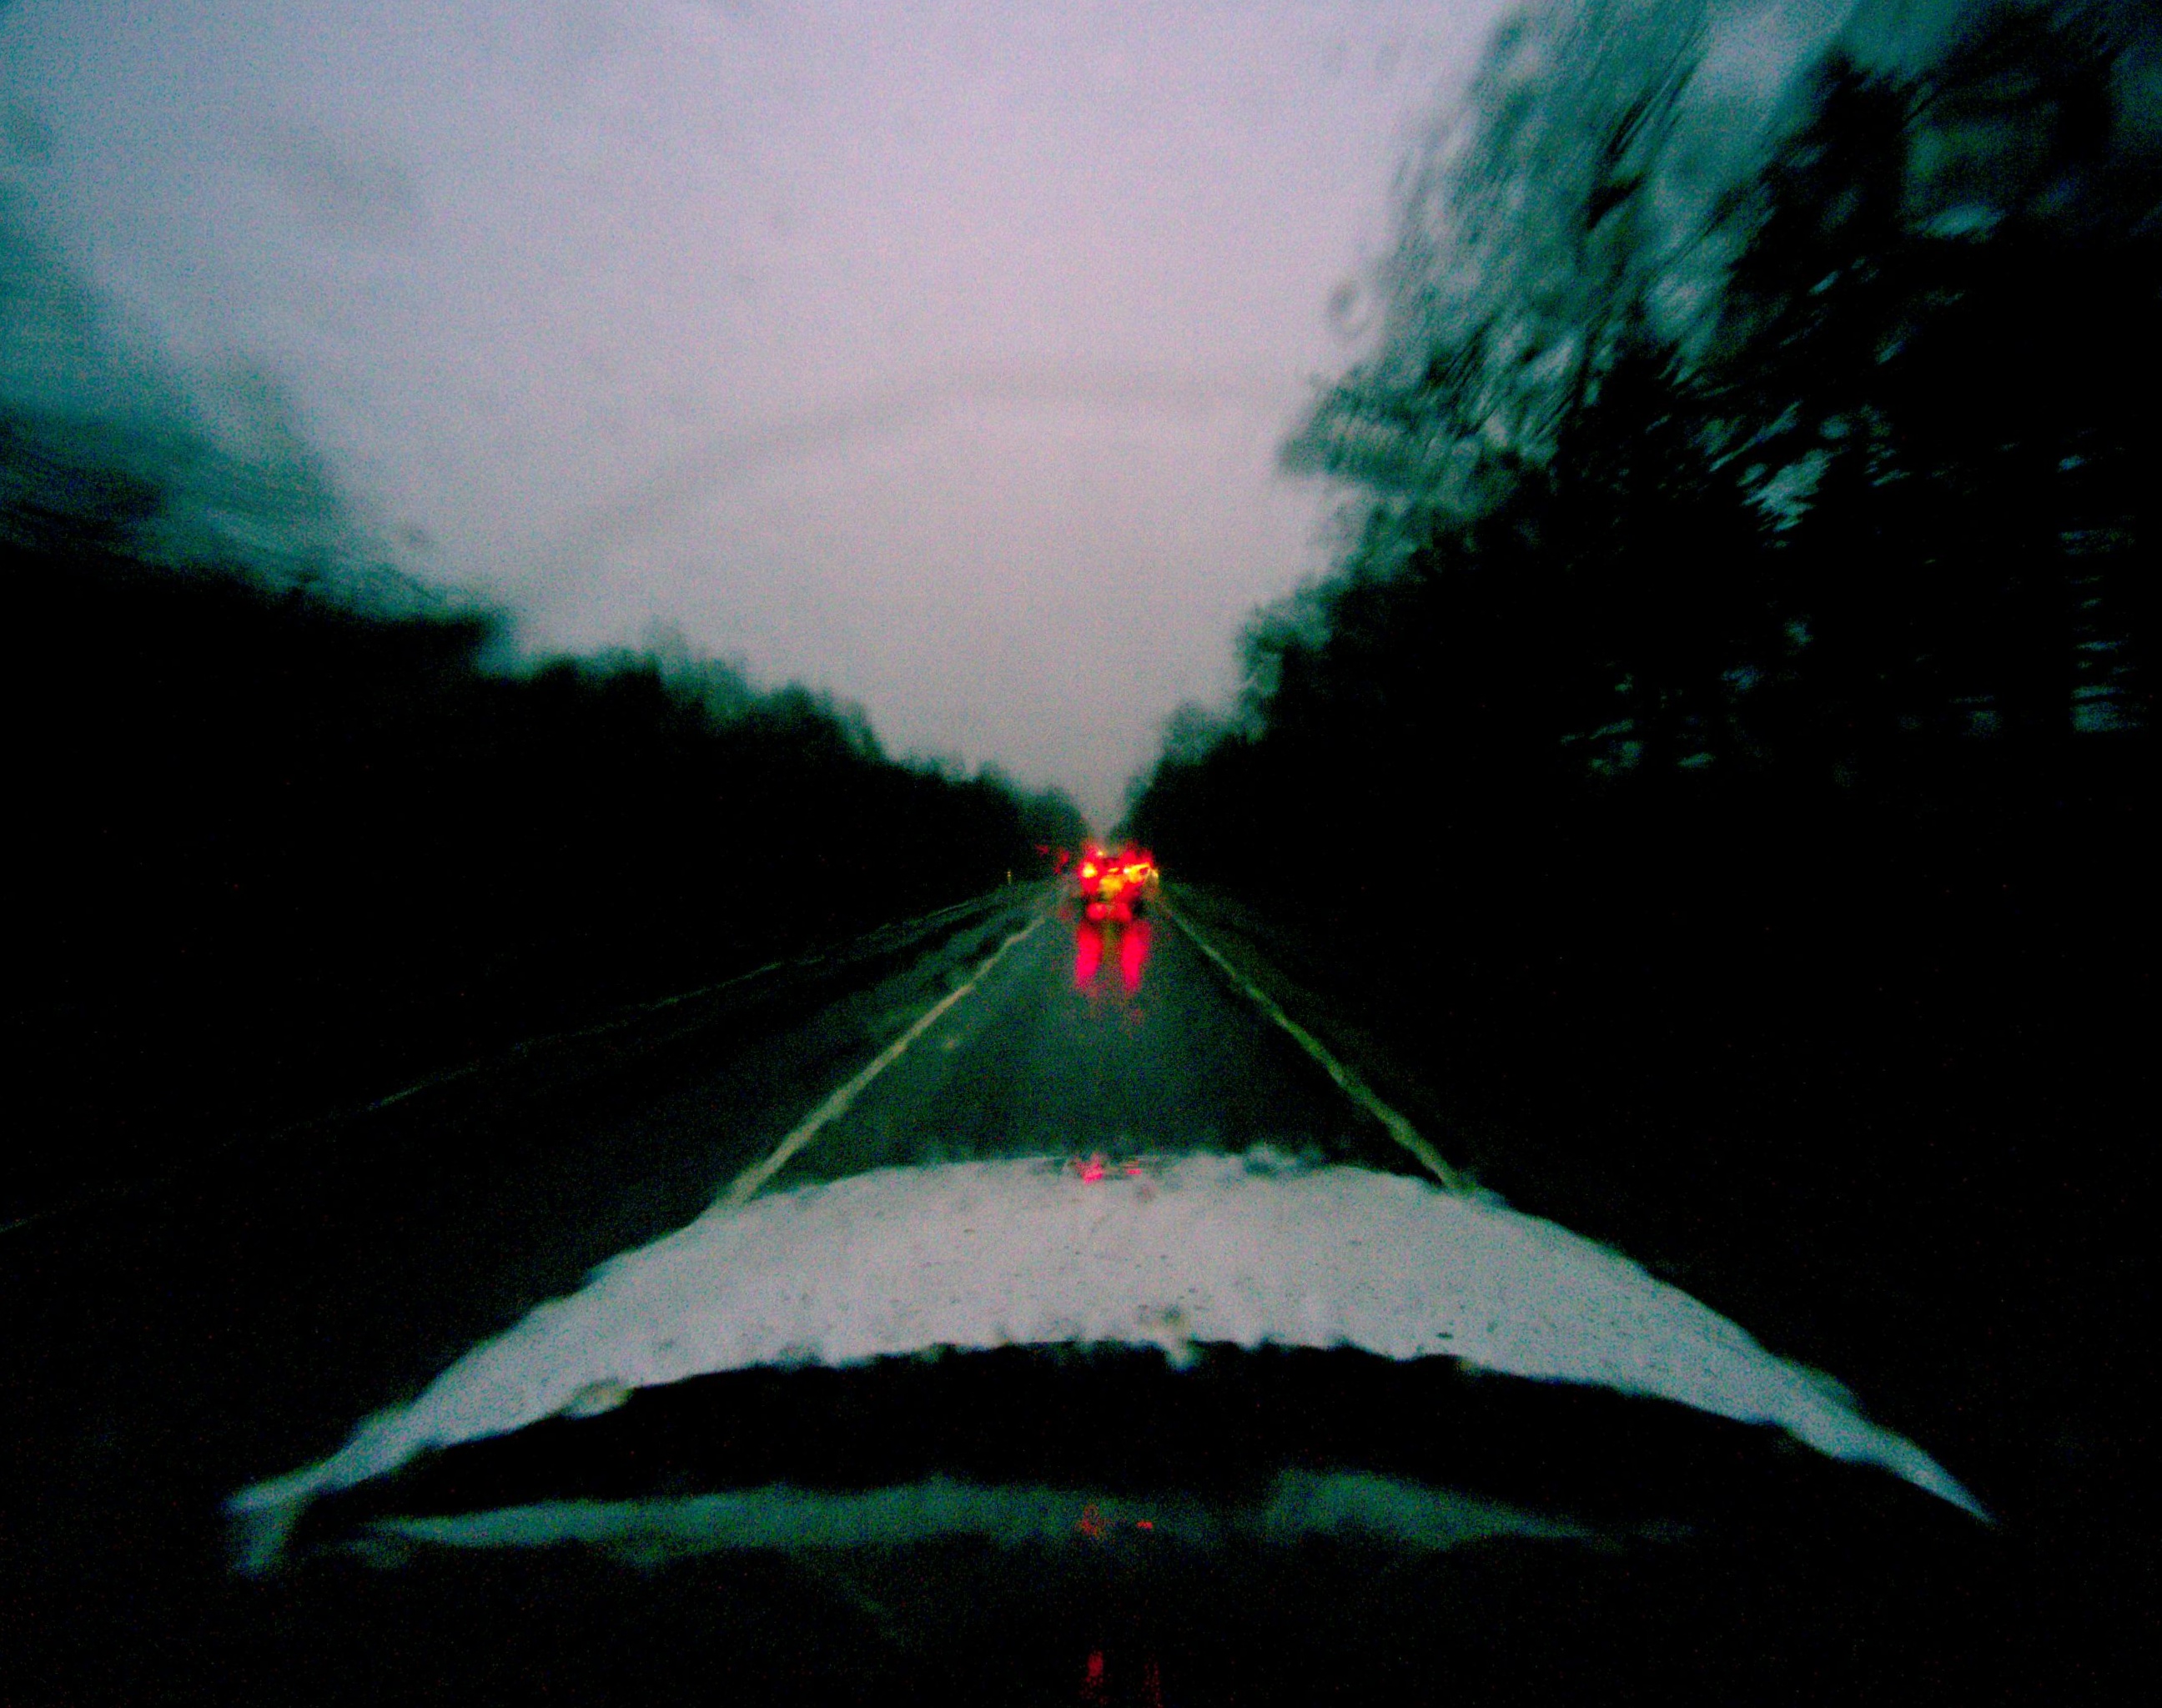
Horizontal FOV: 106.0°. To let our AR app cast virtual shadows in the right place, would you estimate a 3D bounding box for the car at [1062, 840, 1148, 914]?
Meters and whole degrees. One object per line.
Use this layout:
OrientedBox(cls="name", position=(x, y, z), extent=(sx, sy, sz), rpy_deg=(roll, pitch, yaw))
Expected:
OrientedBox(cls="car", position=(0.670, 0.591, 23.239), extent=(2.190, 1.877, 4.828), rpy_deg=(0, 0, 1))
